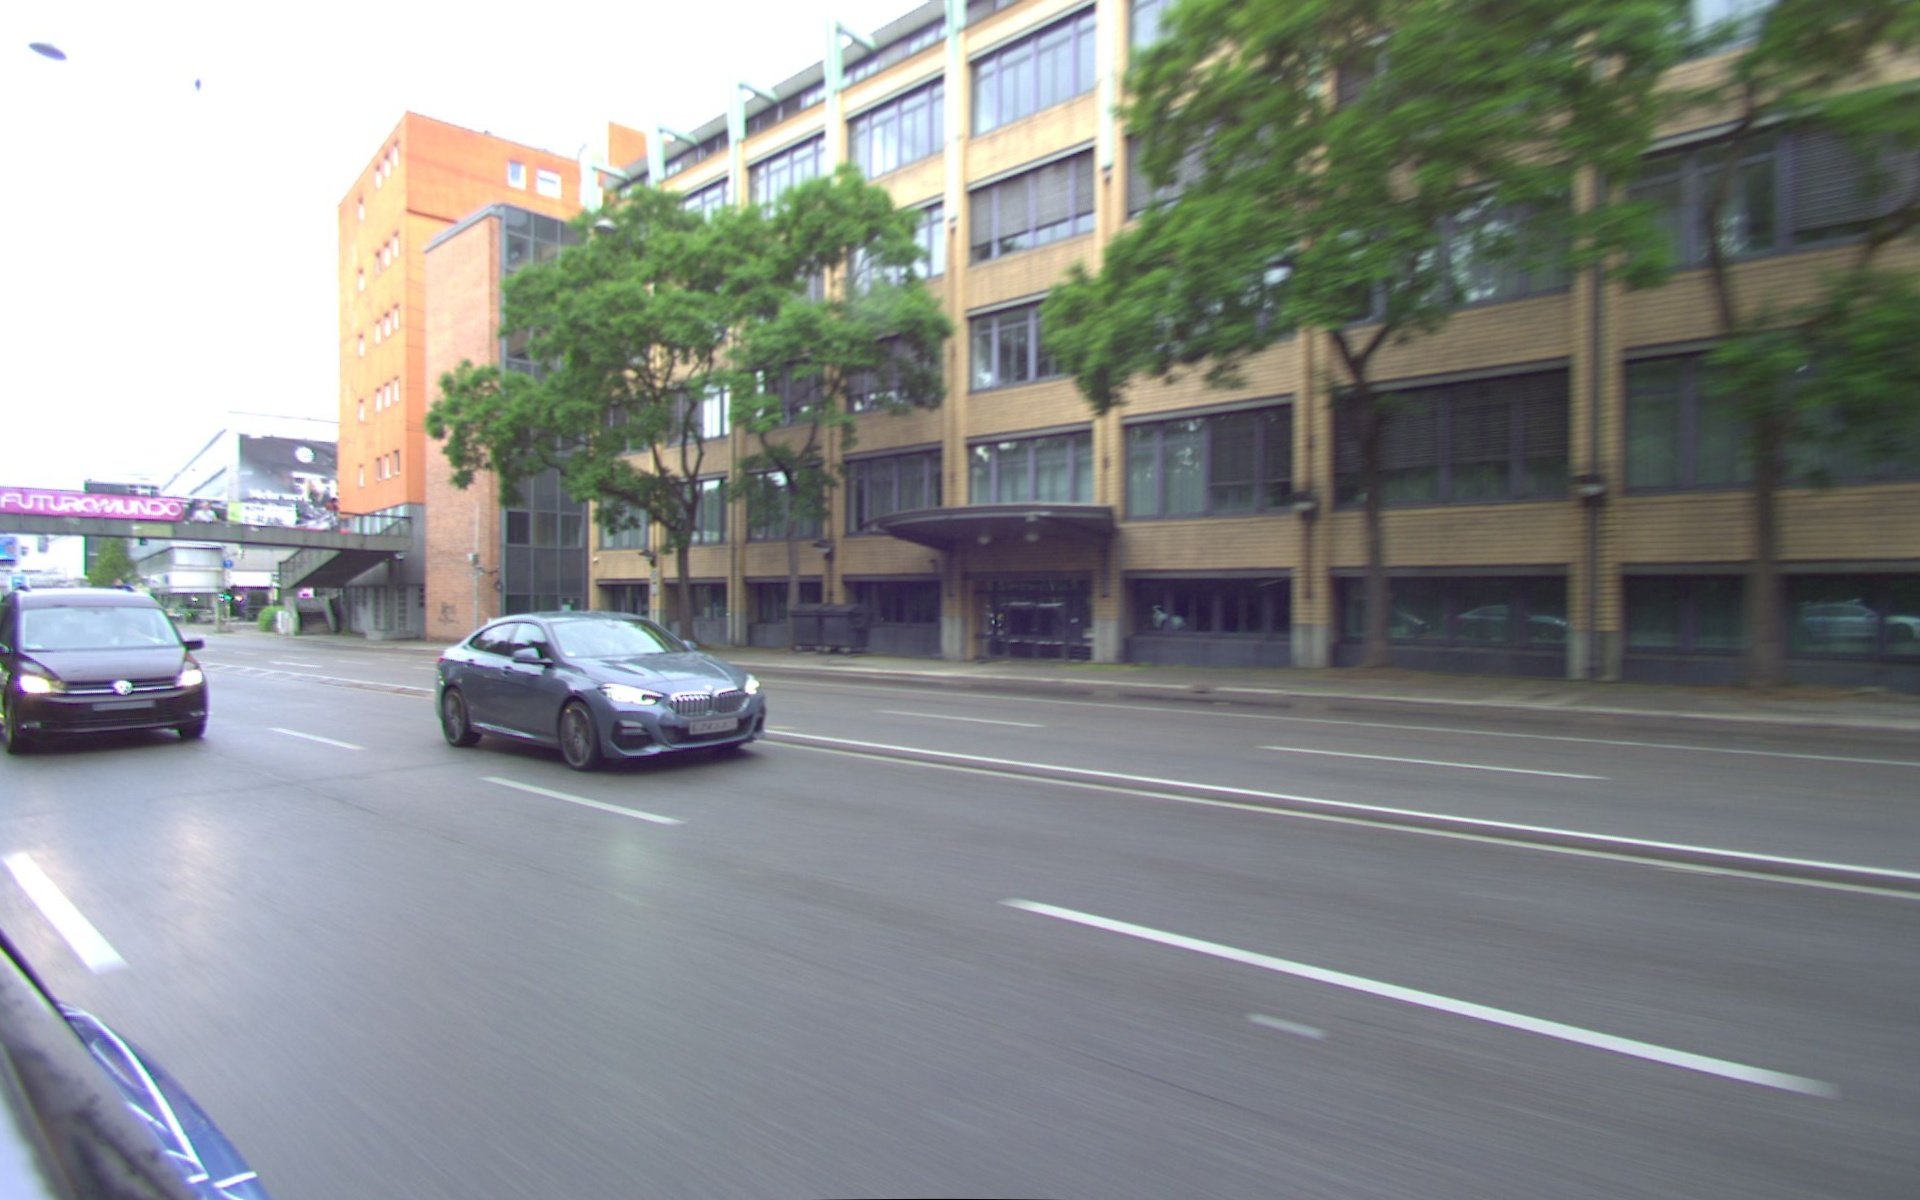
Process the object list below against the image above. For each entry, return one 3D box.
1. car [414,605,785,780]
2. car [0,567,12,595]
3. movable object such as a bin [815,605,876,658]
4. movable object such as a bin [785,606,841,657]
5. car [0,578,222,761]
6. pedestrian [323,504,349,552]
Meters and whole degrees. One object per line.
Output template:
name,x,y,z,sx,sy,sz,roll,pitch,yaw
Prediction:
car,-3.897,0.801,10.479,4.538,1.426,1.648,-1,-1,42
car,-58.485,-1.113,61.089,1.798,1.624,4.004,-2,2,-43
movable object such as a bin,-3.296,0.887,29.168,1.370,1.447,1.058,-1,0,36
movable object such as a bin,-4.367,0.925,29.994,1.312,1.447,0.964,-1,0,36
car,-10.381,0.743,12.031,3.999,1.805,1.817,-2,-2,42
pedestrian,-30.386,-3.497,49.271,0.737,2.272,0.823,0,-1,35
